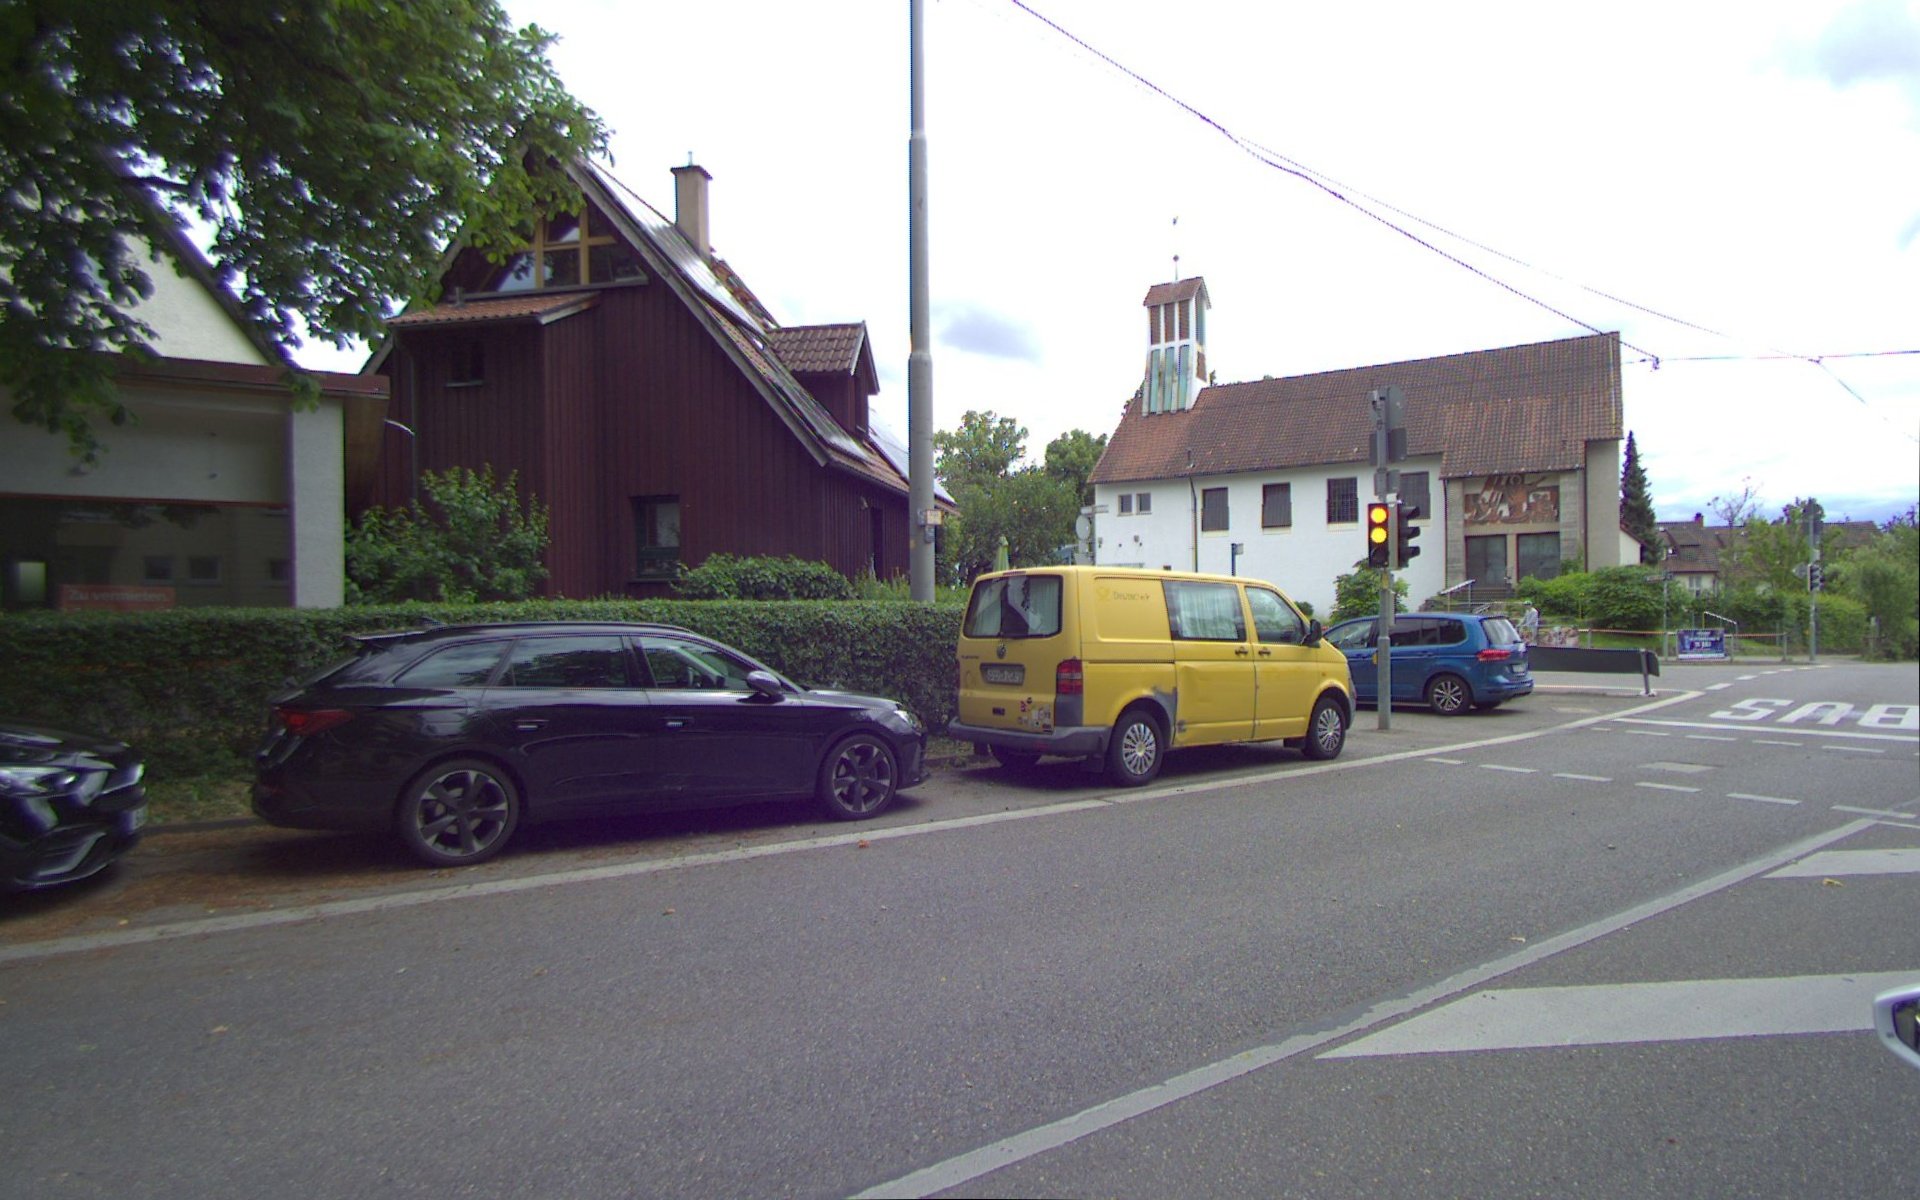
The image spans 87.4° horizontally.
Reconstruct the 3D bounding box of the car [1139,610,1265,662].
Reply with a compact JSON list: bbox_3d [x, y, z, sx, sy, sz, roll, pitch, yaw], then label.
[{"bbox_3d":[7.361,1.102,30.752,3.610,1.509,1.776,-1,-1,12],"label":"car"}]

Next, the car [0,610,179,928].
[{"bbox_3d":[-6.470,0.766,4.437,4.541,1.469,1.736,1,-2,-31],"label":"car"}]

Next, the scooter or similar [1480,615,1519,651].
[{"bbox_3d":[17.113,1.035,31.889,0.872,1.109,0.612,2,0,-2],"label":"scooter or similar"}]

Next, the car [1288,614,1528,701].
[{"bbox_3d":[8.540,1.037,19.304,3.848,1.492,1.836,-1,-1,41],"label":"car"}]

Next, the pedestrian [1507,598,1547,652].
[{"bbox_3d":[18.005,0.786,31.919,0.815,1.675,0.689,2,0,-2],"label":"pedestrian"}]

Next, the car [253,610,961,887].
[{"bbox_3d":[-2.328,0.855,7.301,4.464,1.469,1.736,1,-2,-32],"label":"car"}]

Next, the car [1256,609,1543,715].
[{"bbox_3d":[7.403,0.967,17.190,1.832,1.567,4.125,0,-1,-43],"label":"car"}]

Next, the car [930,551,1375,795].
[{"bbox_3d":[2.162,0.661,10.520,4.756,2.016,1.902,1,-2,-37],"label":"car"}]
